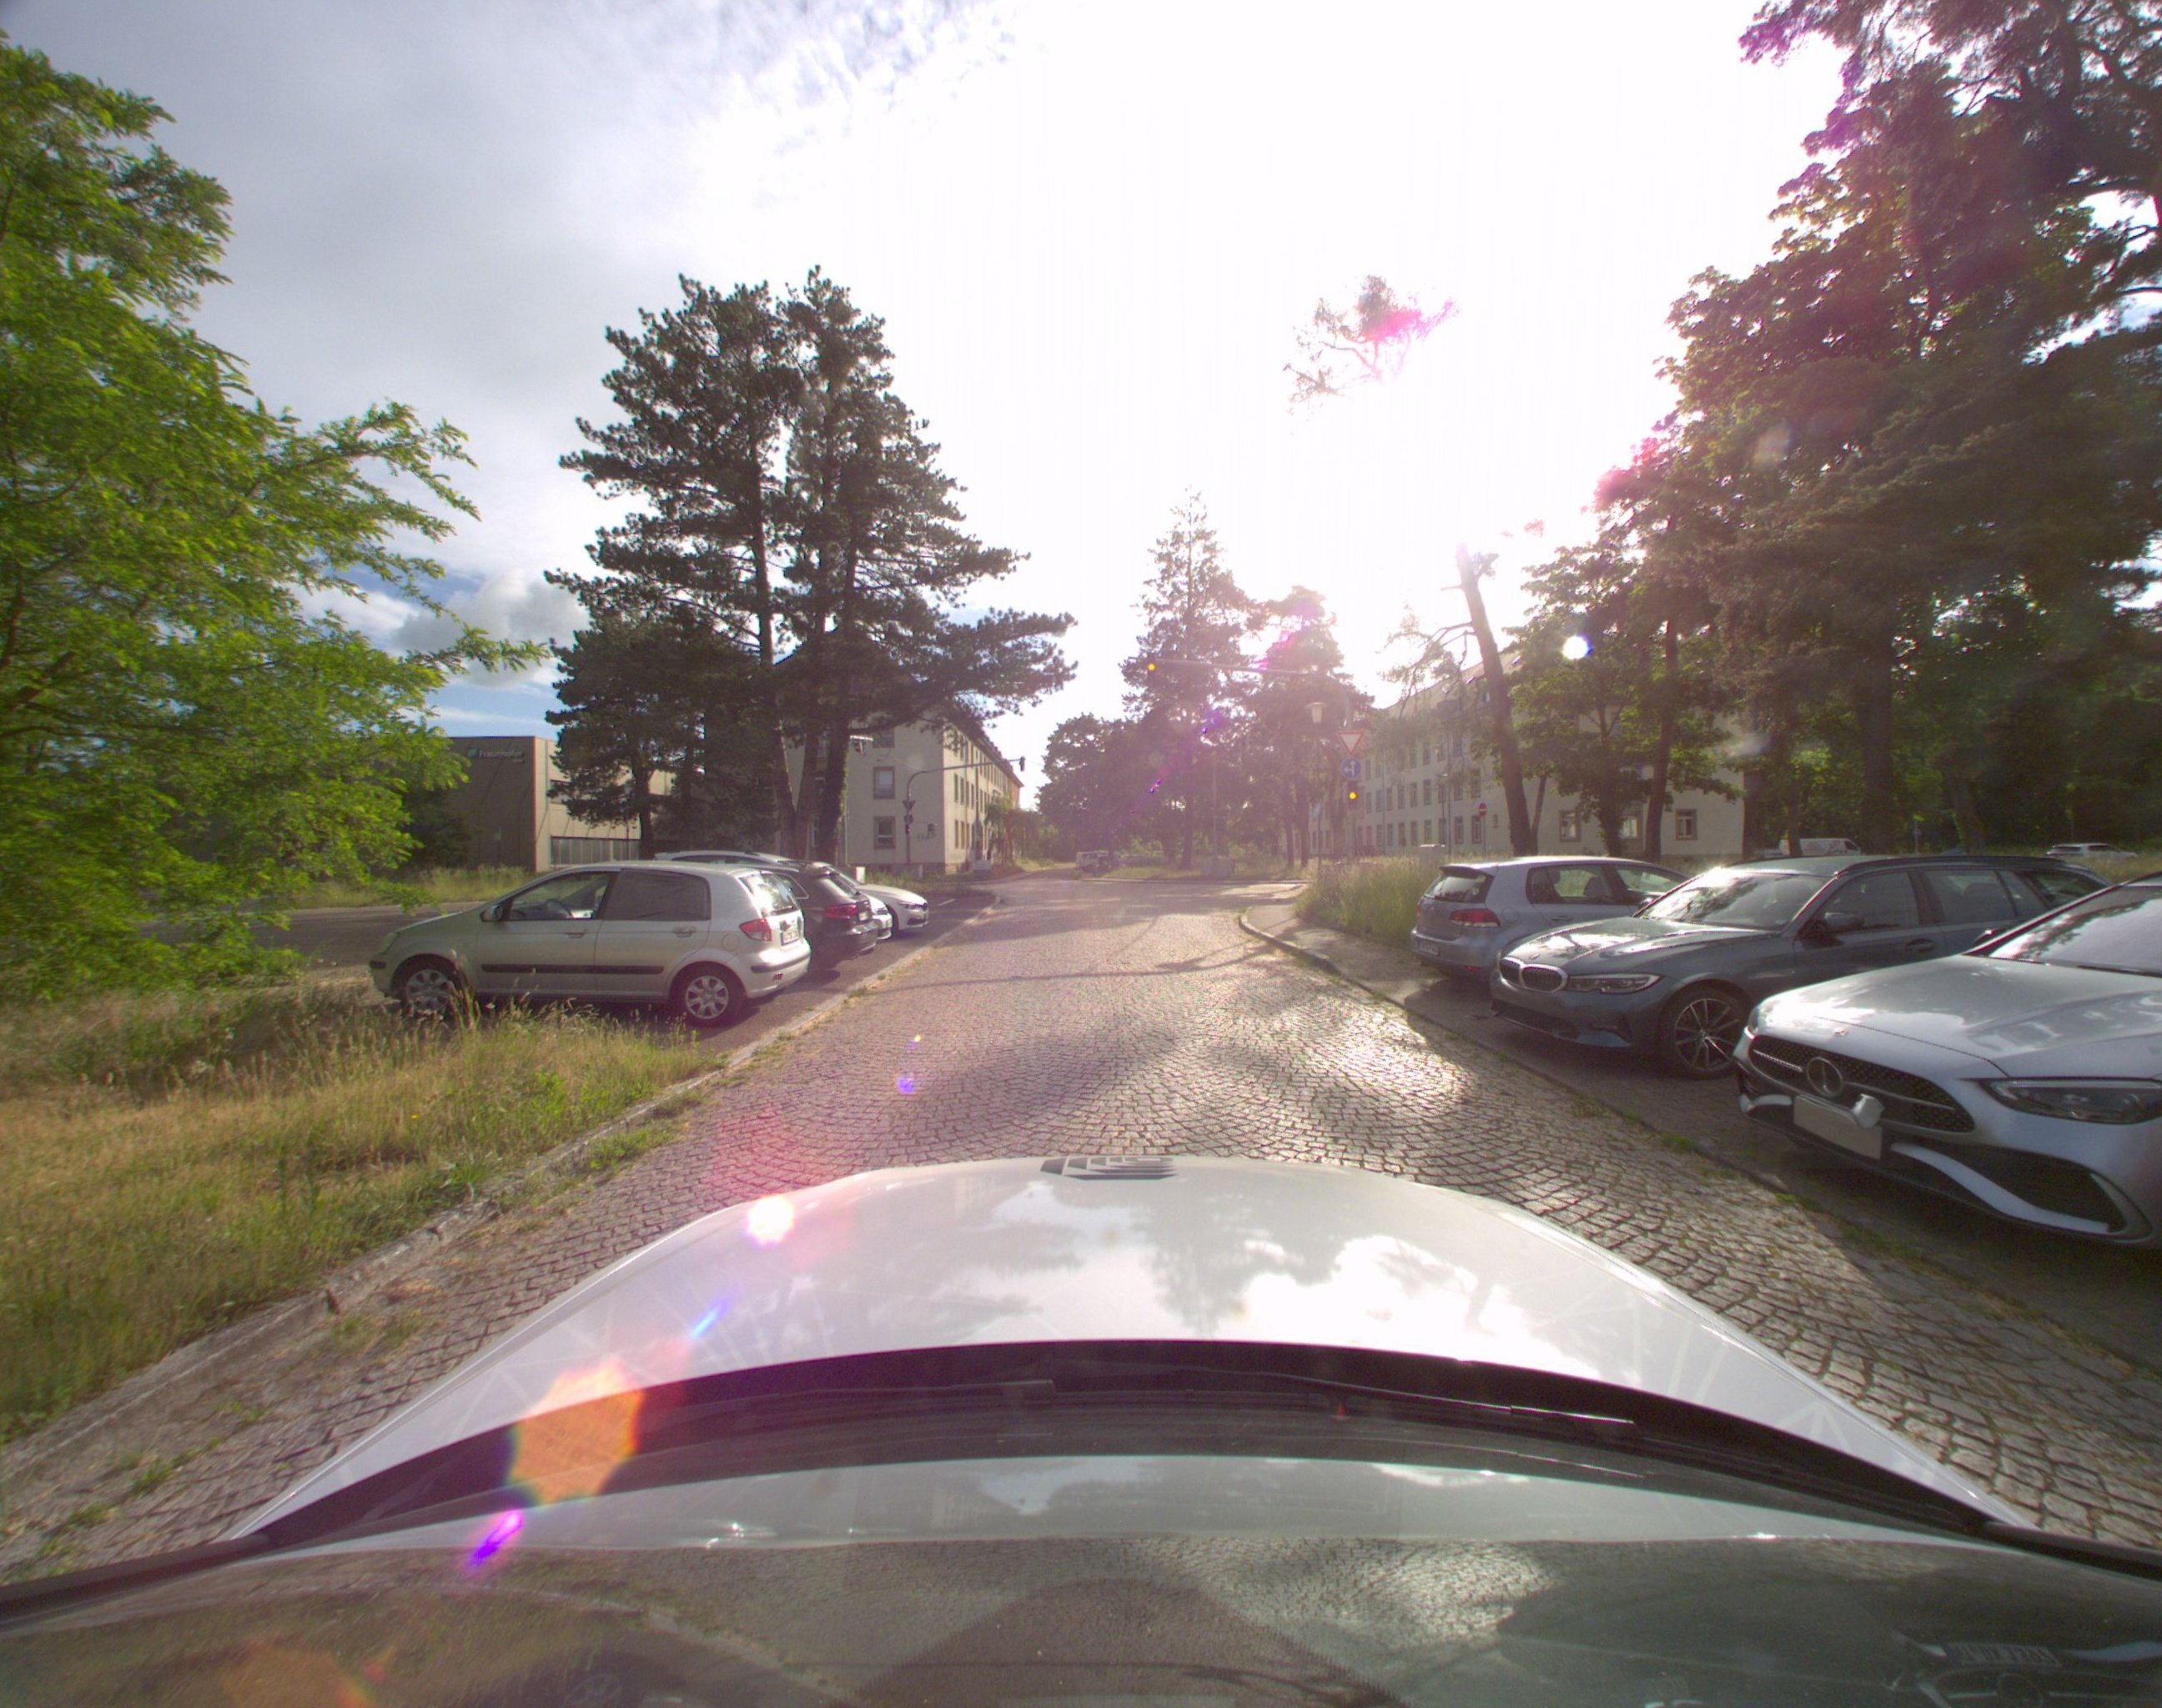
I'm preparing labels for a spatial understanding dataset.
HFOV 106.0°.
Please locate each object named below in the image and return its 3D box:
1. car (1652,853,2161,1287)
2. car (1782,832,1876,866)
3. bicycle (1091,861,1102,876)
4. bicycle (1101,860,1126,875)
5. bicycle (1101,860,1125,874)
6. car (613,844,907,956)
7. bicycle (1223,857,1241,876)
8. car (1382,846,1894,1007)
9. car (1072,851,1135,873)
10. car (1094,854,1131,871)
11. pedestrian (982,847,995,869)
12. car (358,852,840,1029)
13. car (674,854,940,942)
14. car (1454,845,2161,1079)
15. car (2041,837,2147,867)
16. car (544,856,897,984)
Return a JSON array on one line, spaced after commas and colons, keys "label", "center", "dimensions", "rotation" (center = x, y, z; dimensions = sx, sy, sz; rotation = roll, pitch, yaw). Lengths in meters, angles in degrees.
[{"label": "car", "center": [5.587, 0.740, 3.842], "dimensions": [4.493, 1.473, 1.849], "rotation": [-1, -1, -1]}, {"label": "car", "center": [57.664, -0.356, 62.885], "dimensions": [5.140, 2.536, 2.264], "rotation": [-1, -1, 1]}, {"label": "bicycle", "center": [1.054, 1.004, 56.680], "dimensions": [0.726, 0.999, 1.798], "rotation": [-1, 1, 0]}, {"label": "bicycle", "center": [2.425, 0.992, 60.285], "dimensions": [1.788, 0.999, 0.644], "rotation": [-1, 1, -2]}, {"label": "bicycle", "center": [2.424, 1.004, 61.305], "dimensions": [1.788, 0.999, 0.644], "rotation": [-1, 1, -2]}, {"label": "car", "center": [-5.158, 0.737, 13.587], "dimensions": [4.114, 1.600, 1.855], "rotation": [2, -1, -5]}, {"label": "bicycle", "center": [8.560, 0.702, 46.185], "dimensions": [0.561, 0.999, 1.749], "rotation": [-1, 1, -4]}, {"label": "car", "center": [6.055, 0.738, 9.250], "dimensions": [4.532, 1.505, 1.931], "rotation": [-1, -1, -2]}, {"label": "car", "center": [2.128, 0.744, 76.217], "dimensions": [5.509, 1.916, 2.243], "rotation": [0, -1, -14]}, {"label": "car", "center": [2.793, 0.738, 72.659], "dimensions": [3.035, 1.465, 1.712], "rotation": [0, -1, -13]}, {"label": "pedestrian", "center": [-8.230, 0.355, 72.522], "dimensions": [0.982, 1.963, 0.932], "rotation": [-1, -1, -1]}, {"label": "car", "center": [-4.579, 0.795, 8.244], "dimensions": [3.673, 1.473, 1.848], "rotation": [2, -1, -2]}, {"label": "car", "center": [-5.245, 0.822, 16.127], "dimensions": [4.576, 1.455, 1.902], "rotation": [2, 1, -3]}, {"label": "car", "center": [5.700, 0.734, 6.621], "dimensions": [4.498, 1.473, 1.892], "rotation": [-1, -1, -5]}, {"label": "car", "center": [58.131, -0.114, 46.783], "dimensions": [3.922, 1.679, 1.855], "rotation": [-1, -1, -2]}, {"label": "car", "center": [-4.613, 0.823, 10.899], "dimensions": [3.817, 1.429, 1.858], "rotation": [2, -1, -1]}]
